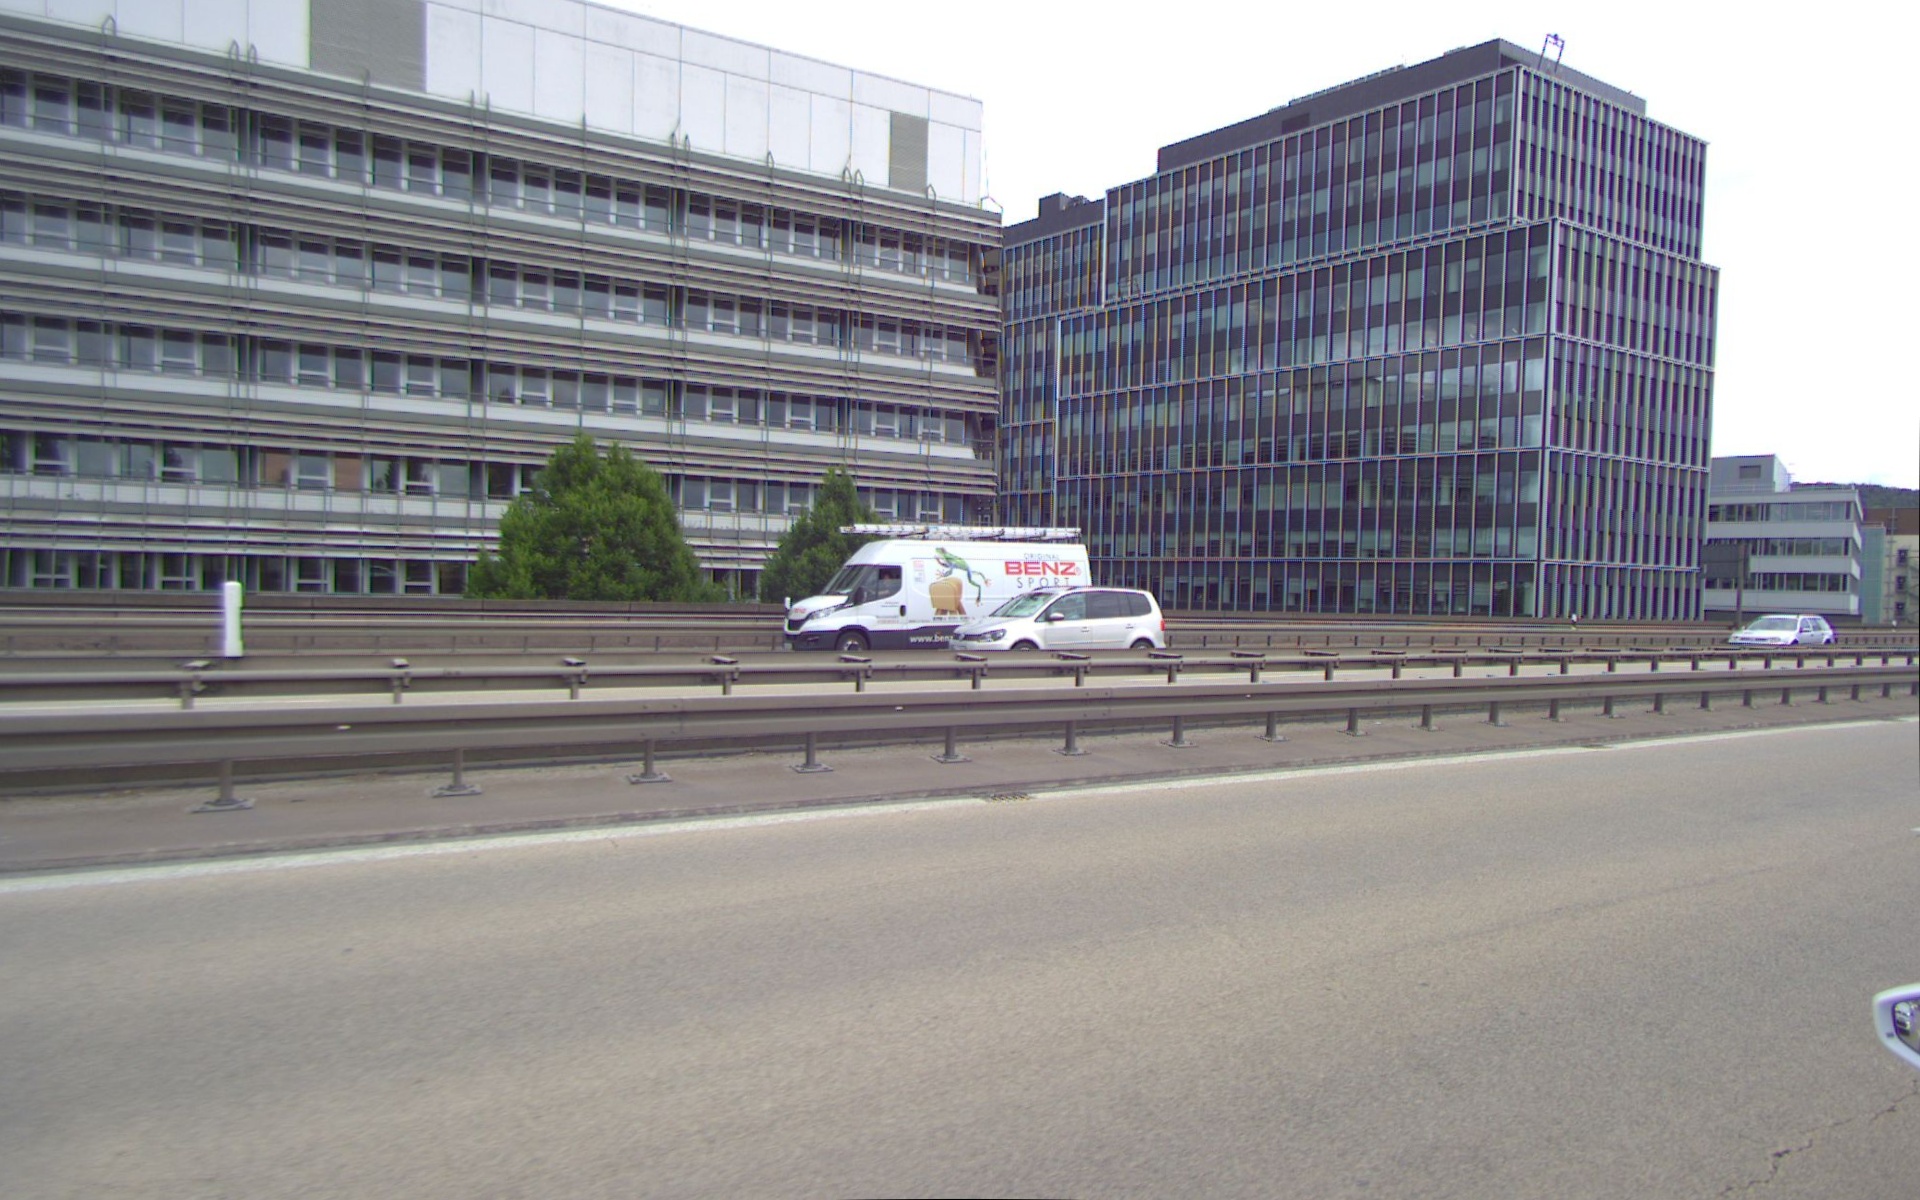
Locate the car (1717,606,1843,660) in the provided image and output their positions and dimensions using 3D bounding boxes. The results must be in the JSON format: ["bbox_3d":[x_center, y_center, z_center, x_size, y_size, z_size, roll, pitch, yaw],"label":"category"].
[{"bbox_3d":[27.506,1.107,33.659,4.393,1.672,1.676,2,1,-28],"label":"car"}]

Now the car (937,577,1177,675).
[{"bbox_3d":[1.863,0.484,18.945,4.259,1.672,1.676,2,1,-28],"label":"car"}]

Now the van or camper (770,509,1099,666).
[{"bbox_3d":[-0.442,-0.180,22.169,7.031,3.048,2.161,1,0,-29],"label":"van or camper"}]
